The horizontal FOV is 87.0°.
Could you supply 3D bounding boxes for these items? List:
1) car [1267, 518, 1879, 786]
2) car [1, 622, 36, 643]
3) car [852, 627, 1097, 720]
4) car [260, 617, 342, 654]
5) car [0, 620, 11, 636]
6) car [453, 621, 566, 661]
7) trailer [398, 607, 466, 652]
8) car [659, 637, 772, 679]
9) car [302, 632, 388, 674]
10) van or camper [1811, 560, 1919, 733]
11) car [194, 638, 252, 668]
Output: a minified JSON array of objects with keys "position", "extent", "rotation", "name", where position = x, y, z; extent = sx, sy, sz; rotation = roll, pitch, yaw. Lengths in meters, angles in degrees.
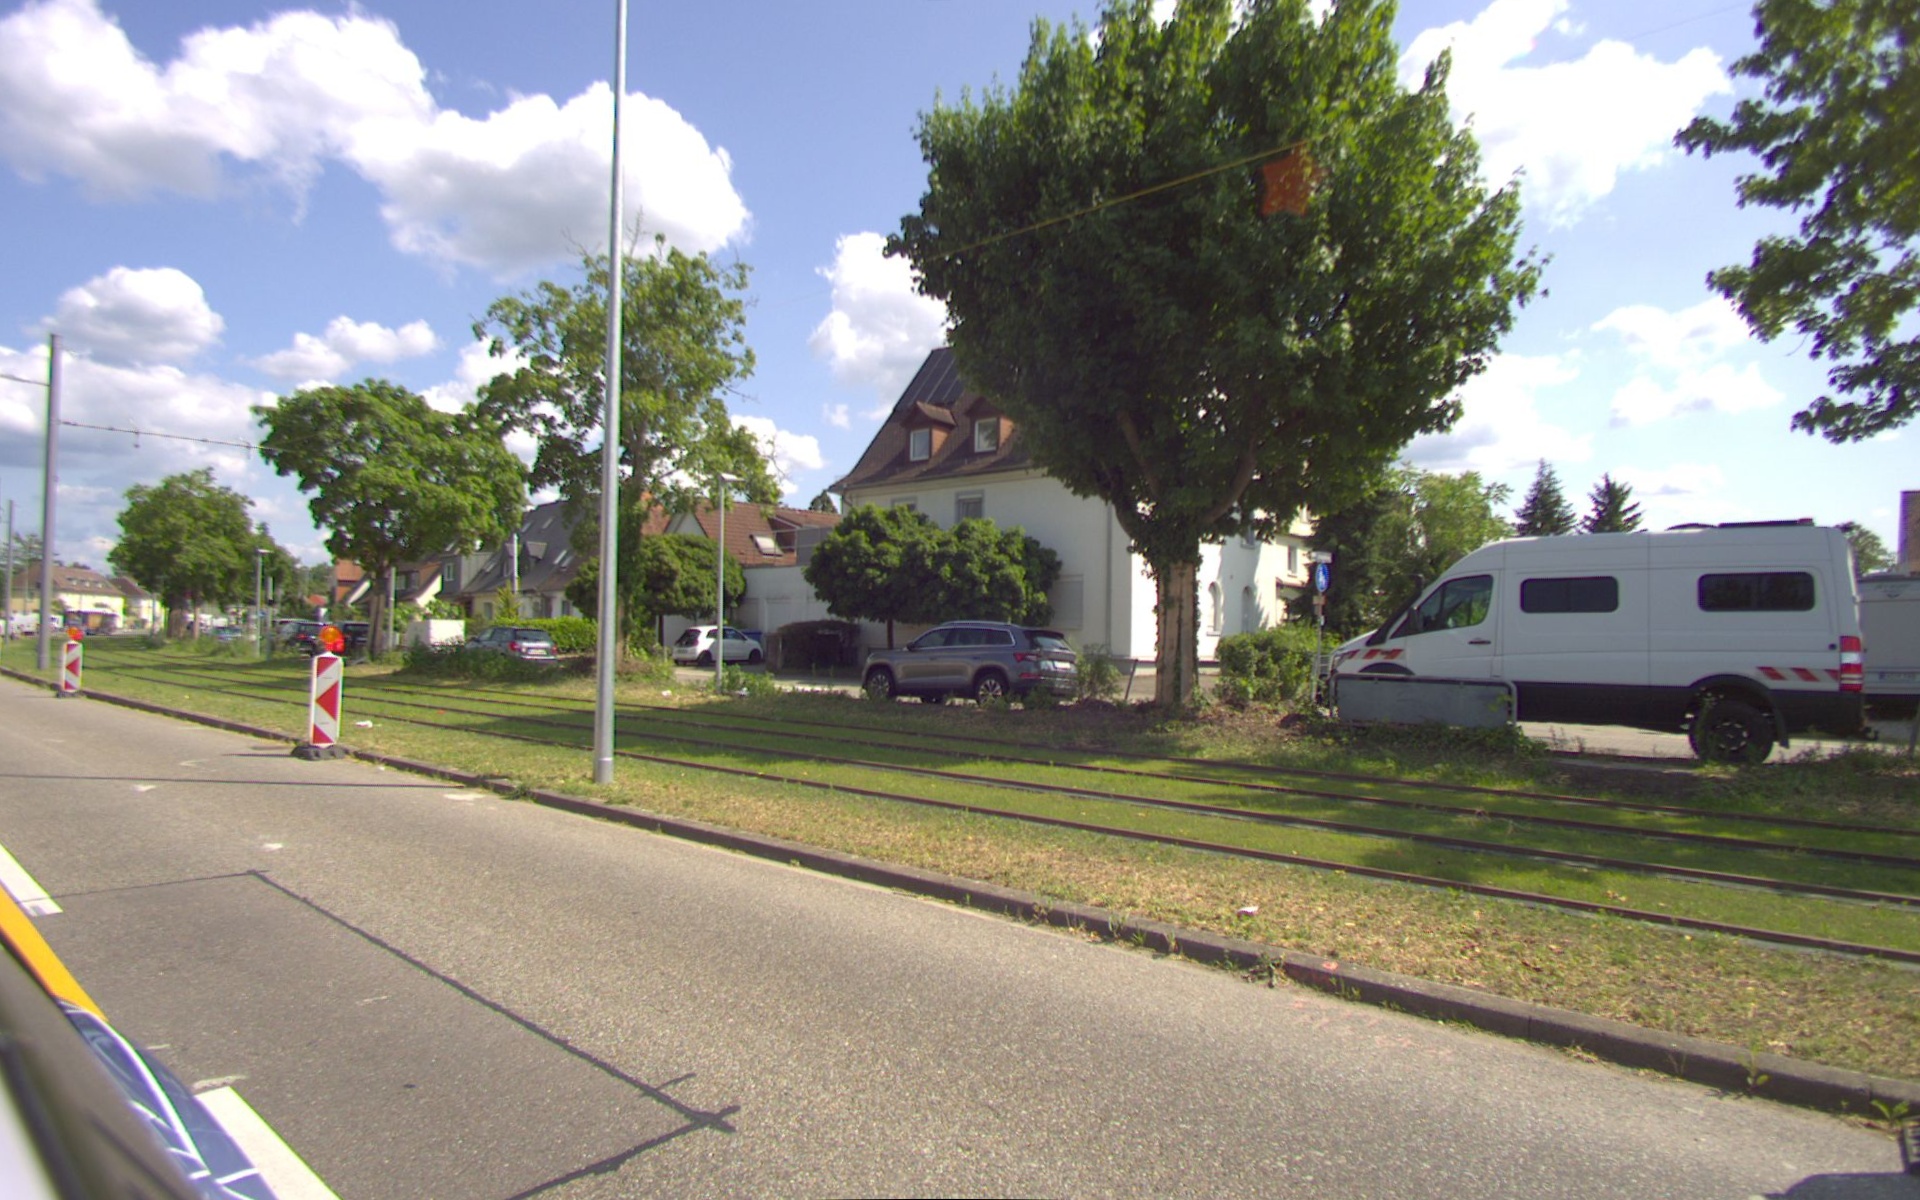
[{"position":[7.503,0.613,13.206],"extent":[6.455,2.751,1.974],"rotation":[-1,-3,39],"name":"car"},{"position":[-96.910,3.314,104.206],"extent":[1.812,2.070,3.879],"rotation":[3,-3,-32],"name":"car"},{"position":[0.188,1.330,19.449],"extent":[4.484,1.517,1.973],"rotation":[0,-3,41],"name":"car"},{"position":[-29.780,1.605,45.661],"extent":[4.320,1.551,1.973],"rotation":[0,-3,41],"name":"car"},{"position":[-88.506,2.554,92.986],"extent":[1.490,1.510,3.582],"rotation":[3,-3,-37],"name":"car"},{"position":[-14.263,1.272,31.963],"extent":[3.834,1.101,1.763],"rotation":[1,-2,40],"name":"car"},{"position":[-18.447,1.028,35.334],"extent":[2.280,1.530,1.286],"rotation":[-1,-3,40],"name":"trailer"},{"position":[-9.561,2.297,39.812],"extent":[1.998,1.539,3.946],"rotation":[-4,-5,40],"name":"car"},{"position":[-25.767,2.235,42.363],"extent":[4.099,1.590,1.885],"rotation":[-3,-7,41],"name":"car"},{"position":[20.035,0.983,21.700],"extent":[2.632,3.246,6.659],"rotation":[-1,-3,40],"name":"van or camper"},{"position":[-42.986,3.068,58.991],"extent":[4.323,1.551,1.971],"rotation":[0,-3,43],"name":"car"}]
